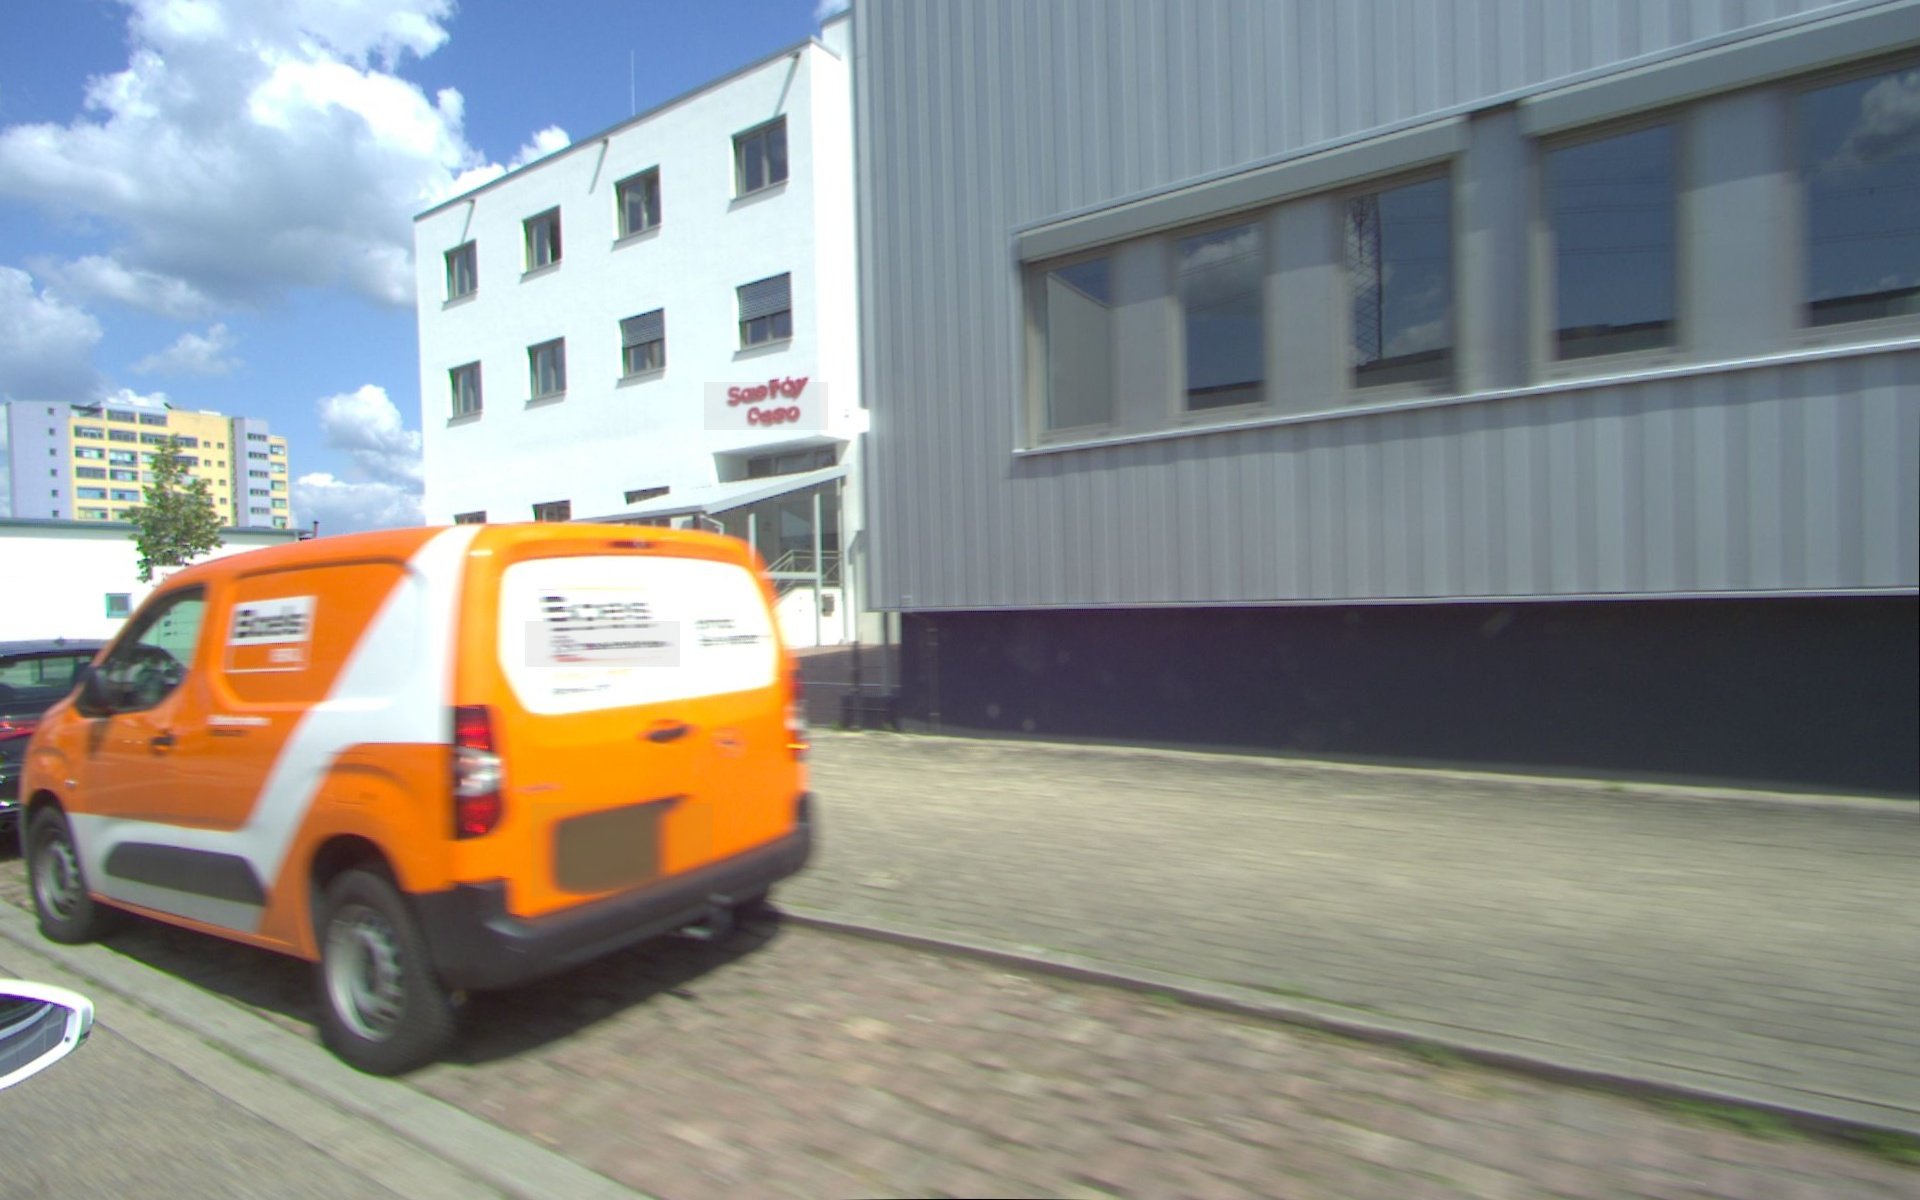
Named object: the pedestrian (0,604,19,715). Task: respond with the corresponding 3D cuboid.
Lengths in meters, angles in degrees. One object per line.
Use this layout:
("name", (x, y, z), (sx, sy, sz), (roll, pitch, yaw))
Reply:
("pedestrian", (-17.677, 1.087, 17.706), (1.071, 1.978, 0.992), (-2, 1, 10))

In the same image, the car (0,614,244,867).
("car", (-7.433, 0.960, 7.826), (4.121, 1.577, 1.656), (-2, -3, 34))

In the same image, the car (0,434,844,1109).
("car", (-2.873, 0.603, 4.814), (4.388, 1.915, 1.870), (-2, -4, 31))
